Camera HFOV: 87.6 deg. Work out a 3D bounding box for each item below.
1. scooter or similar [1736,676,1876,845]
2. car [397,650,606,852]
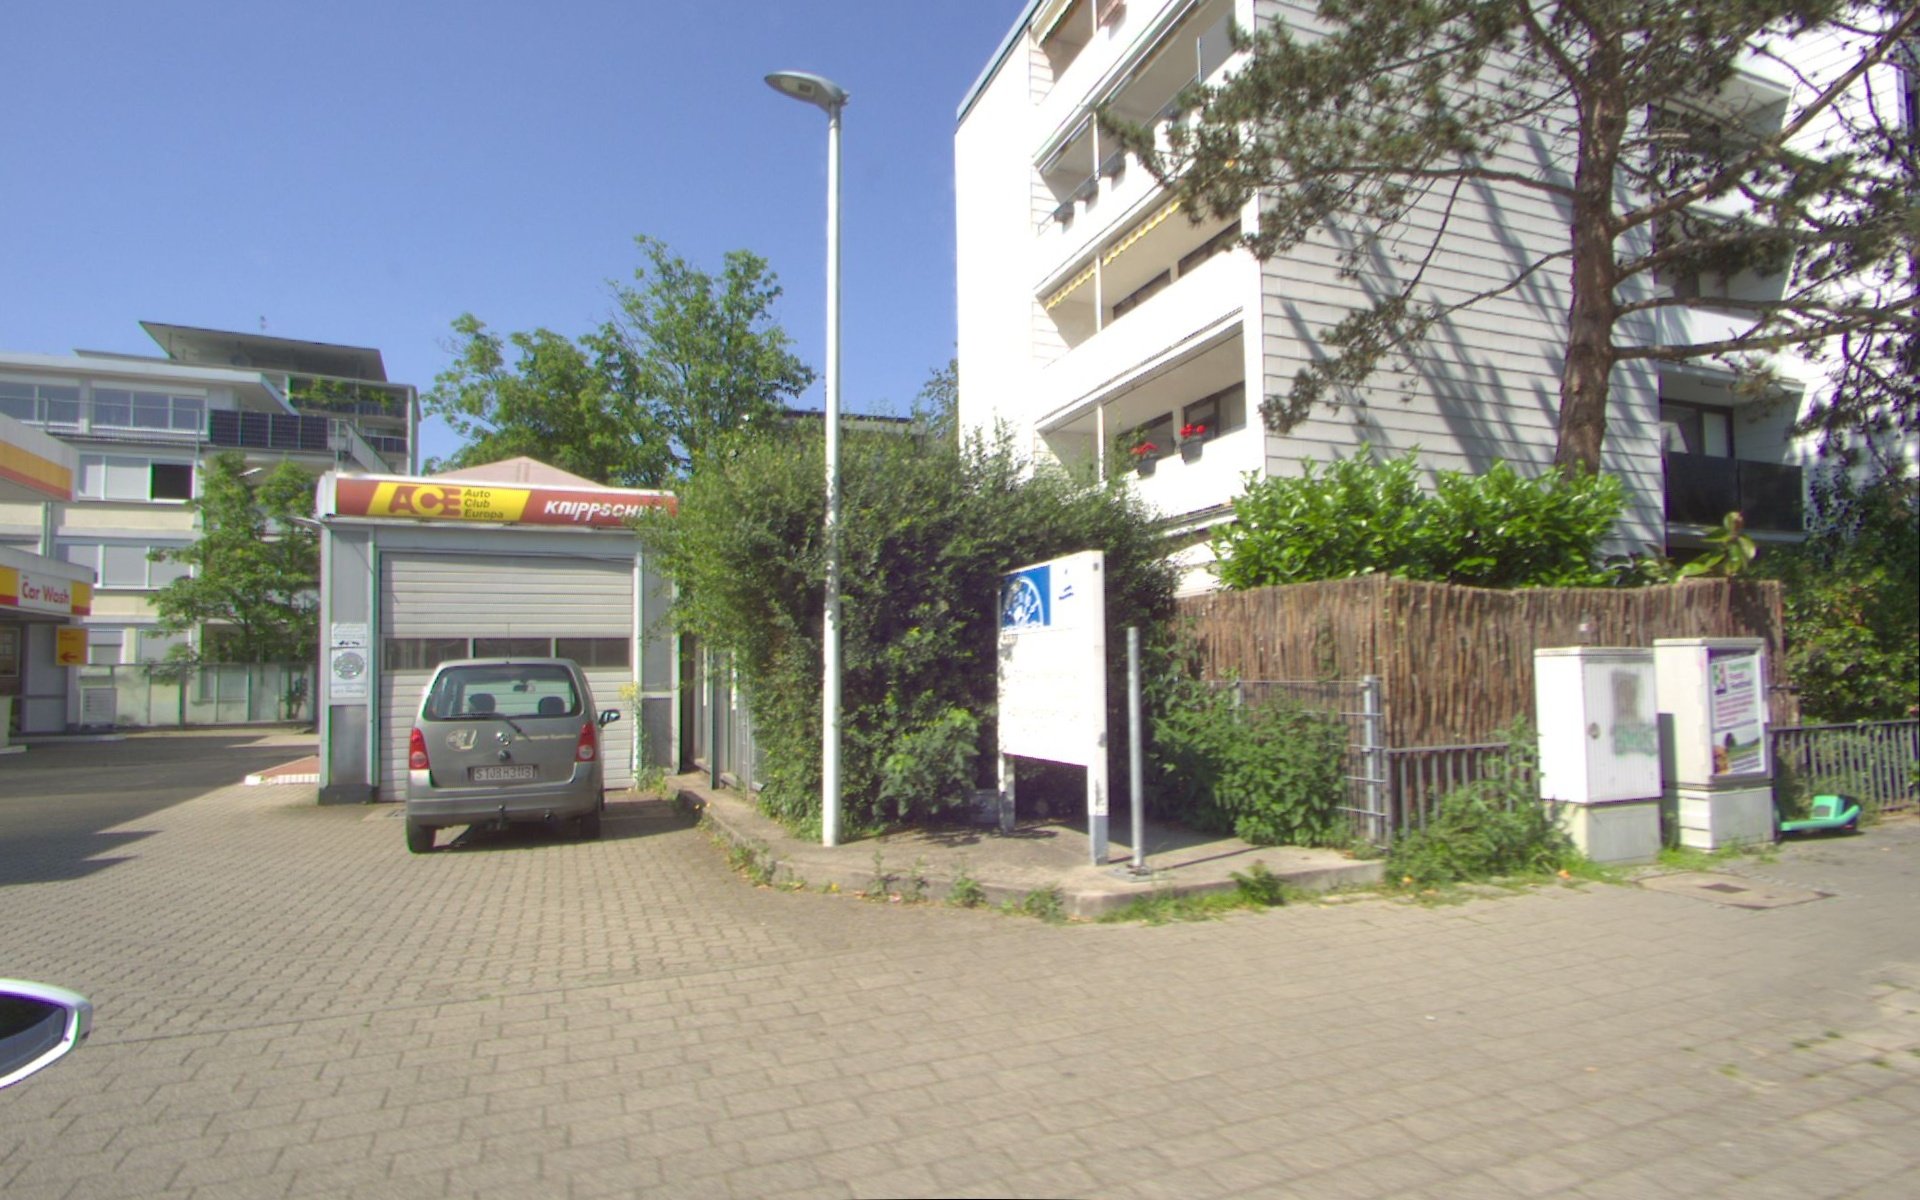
[{"bbox_3d":[6.187,1.151,7.324,0.940,1.180,0.231,0,-4,-15],"label":"scooter or similar"},{"bbox_3d":[-4.430,1.374,10.115,1.563,1.615,3.828,1,-5,-20],"label":"car"}]
